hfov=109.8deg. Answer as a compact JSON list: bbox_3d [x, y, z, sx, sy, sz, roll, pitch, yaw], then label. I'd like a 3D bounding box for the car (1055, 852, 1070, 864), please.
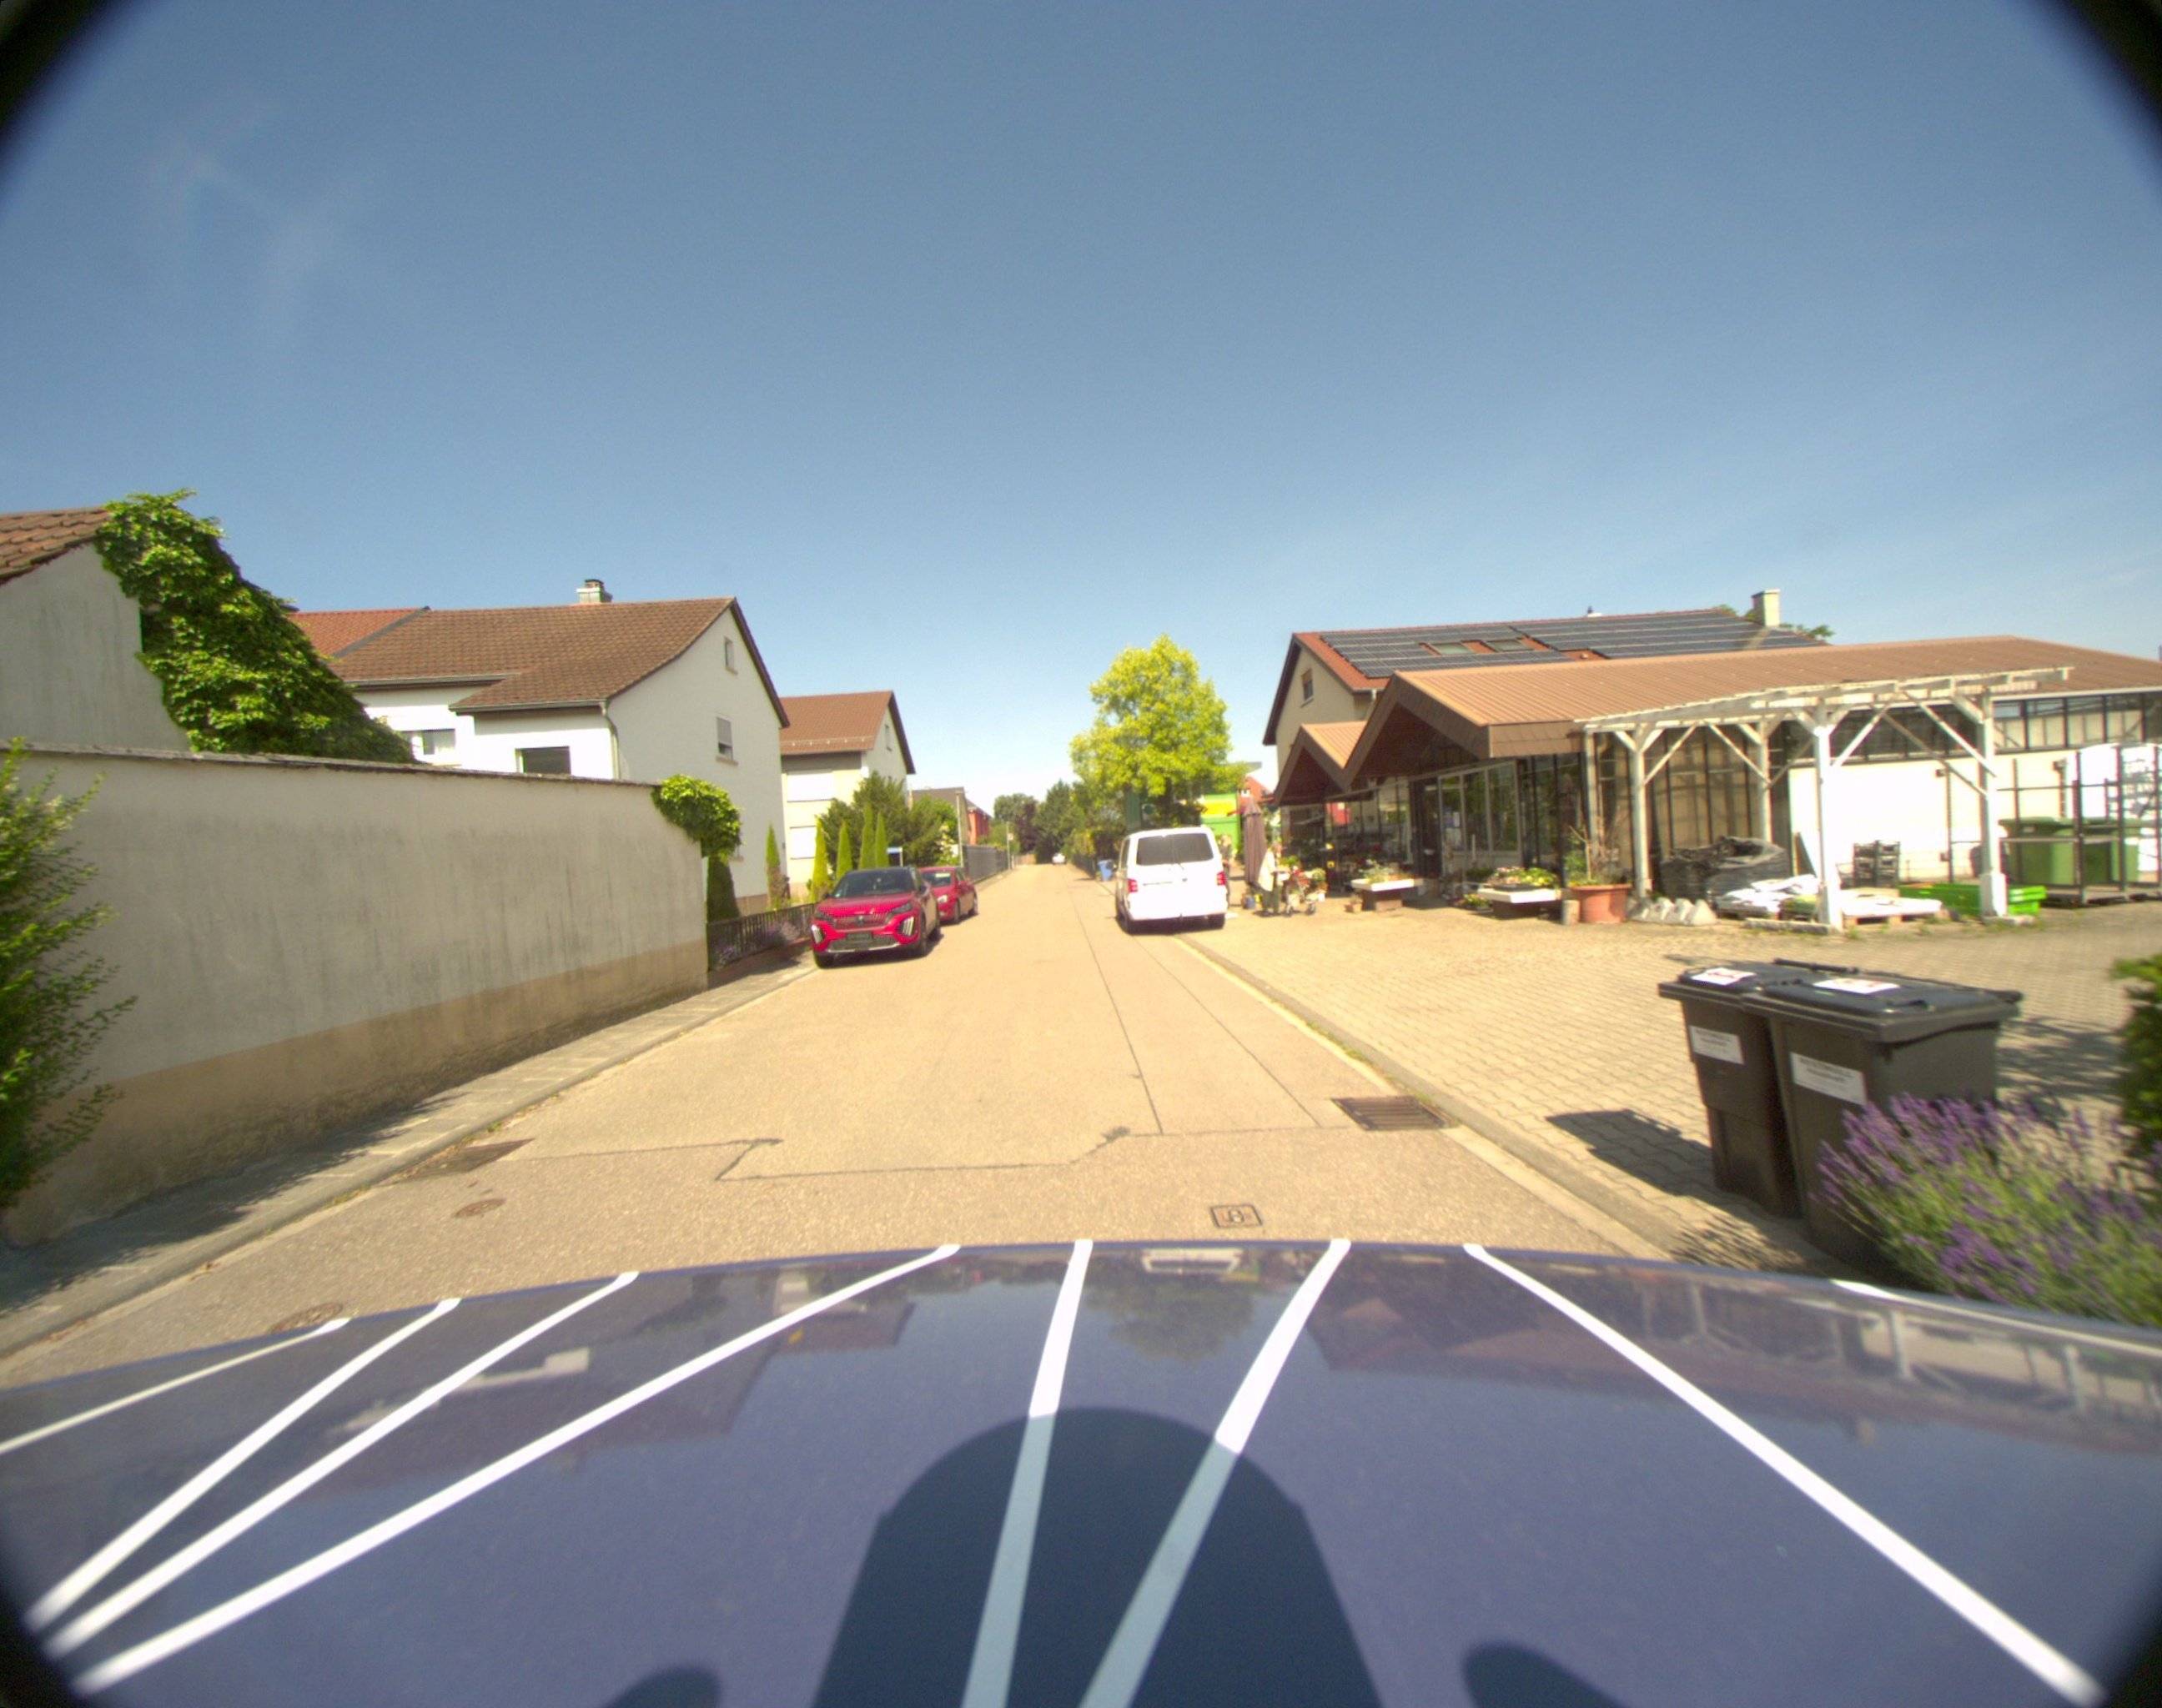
[{"bbox_3d":[-2.416,0.513,98.628,1.757,1.478,4.374,-3,1,-2],"label":"car"}]

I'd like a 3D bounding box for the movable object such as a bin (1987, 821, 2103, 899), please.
[{"bbox_3d":[14.085,0.079,11.118,0.809,1.062,0.715,-4,1,-8],"label":"movable object such as a bin"}]

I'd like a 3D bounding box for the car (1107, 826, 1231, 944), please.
[{"bbox_3d":[1.664,0.531,16.086,1.934,2.002,4.895,-4,1,0],"label":"car"}]

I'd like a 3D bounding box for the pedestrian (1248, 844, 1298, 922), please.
[{"bbox_3d":[3.898,0.582,15.428,0.718,1.530,0.643,-4,1,32],"label":"pedestrian"}]

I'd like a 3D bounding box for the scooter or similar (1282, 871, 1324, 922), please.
[{"bbox_3d":[4.414,0.843,15.121,0.601,0.940,0.622,-3,1,32],"label":"scooter or similar"}]

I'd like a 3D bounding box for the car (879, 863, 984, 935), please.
[{"bbox_3d":[-3.834,1.105,20.176,1.780,1.471,4.000,-5,1,2],"label":"car"}]

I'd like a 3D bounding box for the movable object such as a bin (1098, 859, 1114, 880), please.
[{"bbox_3d":[1.320,0.818,39.852,0.733,1.048,0.612,-5,1,-2],"label":"movable object such as a bin"}]

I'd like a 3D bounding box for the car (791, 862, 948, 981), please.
[{"bbox_3d":[-3.548,1.047,13.545,1.827,1.606,3.998,-4,1,-4],"label":"car"}]

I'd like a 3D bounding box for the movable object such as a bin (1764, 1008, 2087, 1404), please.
[{"bbox_3d":[2.626,1.056,2.403,0.495,1.018,0.447,-3,1,-2],"label":"movable object such as a bin"}]

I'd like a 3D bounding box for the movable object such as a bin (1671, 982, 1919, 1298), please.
[{"bbox_3d":[2.711,1.054,2.921,0.495,1.018,0.447,-3,1,-2],"label":"movable object such as a bin"}]

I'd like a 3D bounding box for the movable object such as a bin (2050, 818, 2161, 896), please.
[{"bbox_3d":[14.928,0.038,11.038,0.809,1.062,0.715,-4,1,-8],"label":"movable object such as a bin"}]

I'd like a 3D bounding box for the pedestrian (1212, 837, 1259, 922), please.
[{"bbox_3d":[3.248,0.527,15.972,0.690,1.721,0.643,-4,1,29],"label":"pedestrian"}]
